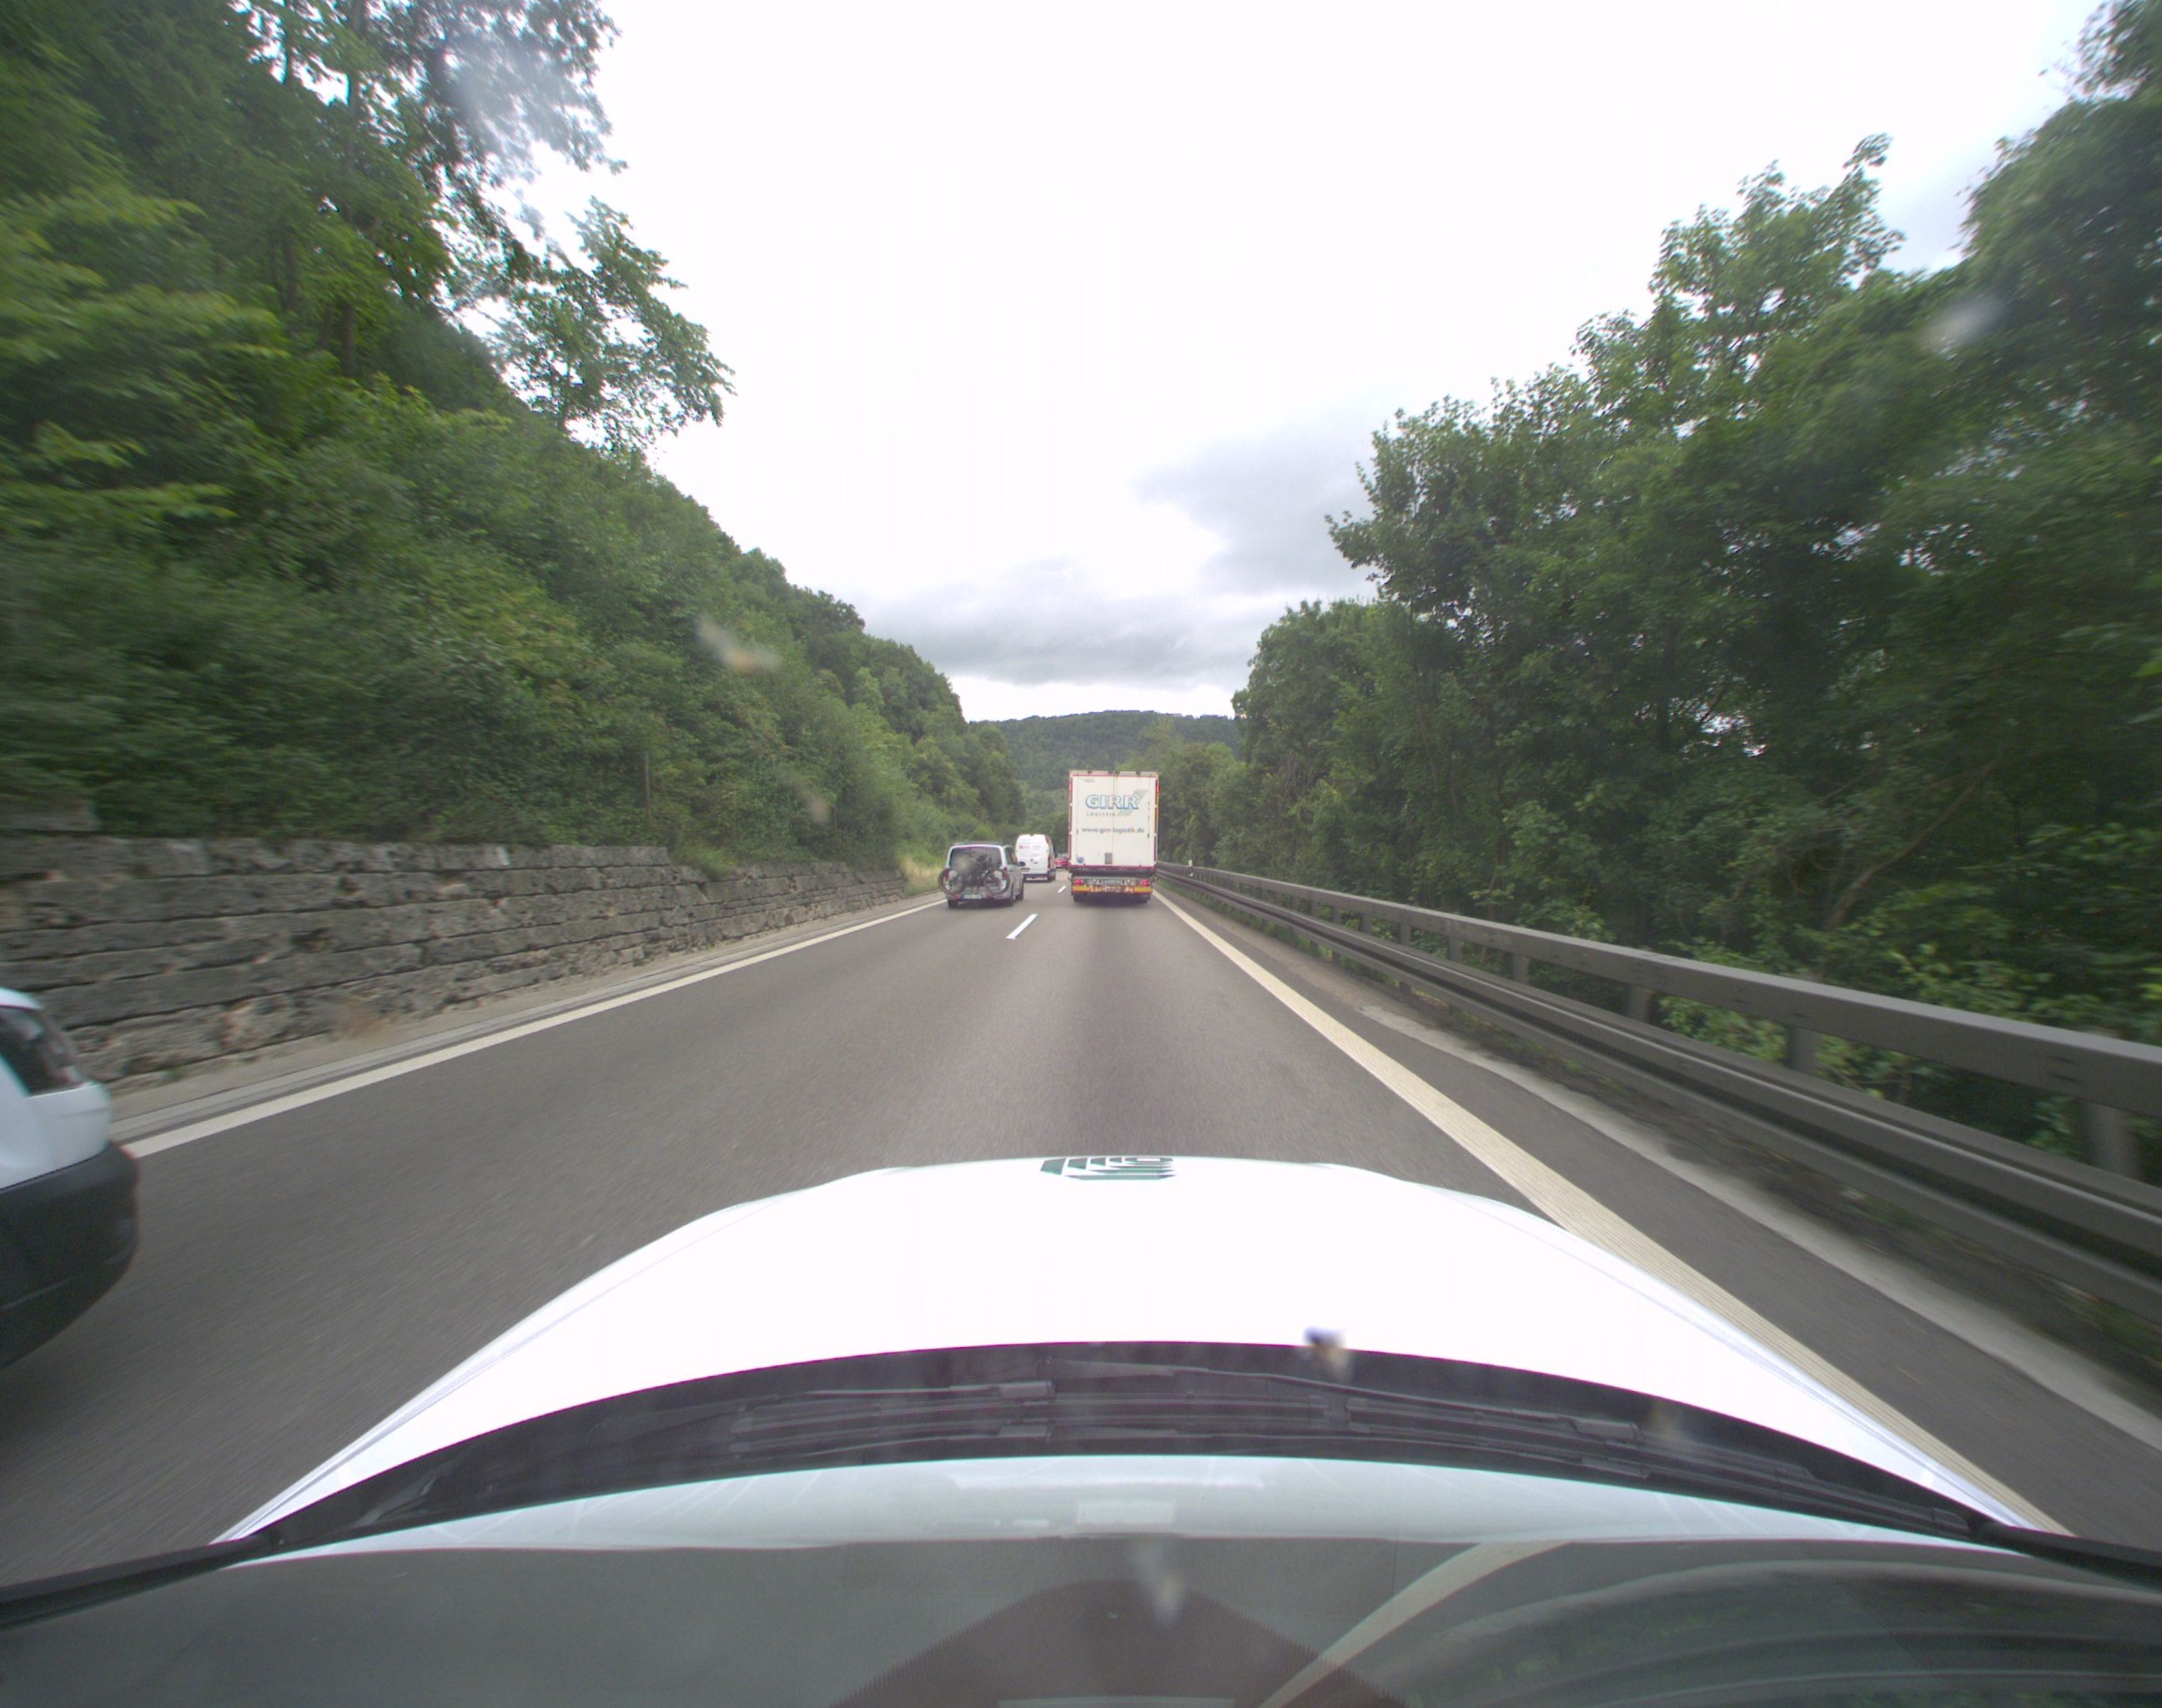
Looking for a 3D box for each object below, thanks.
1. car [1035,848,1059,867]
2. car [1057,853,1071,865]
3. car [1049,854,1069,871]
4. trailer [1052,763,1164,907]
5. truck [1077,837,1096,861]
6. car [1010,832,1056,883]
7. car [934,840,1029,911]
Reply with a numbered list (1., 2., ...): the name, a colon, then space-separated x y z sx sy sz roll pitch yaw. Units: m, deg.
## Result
1. car: -2.792 0.273 68.150 1.677 1.514 3.766 -1 0 2
2. car: -2.427 0.741 118.156 1.830 1.689 4.418 -3 0 1
3. car: -2.086 0.781 77.473 1.677 1.452 3.766 -2 0 1
4. trailer: 0.940 -0.547 27.655 3.121 4.042 9.444 0 0 2
5. truck: 1.014 -0.819 138.625 3.057 3.877 8.461 -1 0 2
6. car: -2.600 0.178 45.581 2.117 2.598 5.563 -2 0 0
7. car: -2.890 0.573 24.975 2.010 1.914 5.566 -1 0 2
